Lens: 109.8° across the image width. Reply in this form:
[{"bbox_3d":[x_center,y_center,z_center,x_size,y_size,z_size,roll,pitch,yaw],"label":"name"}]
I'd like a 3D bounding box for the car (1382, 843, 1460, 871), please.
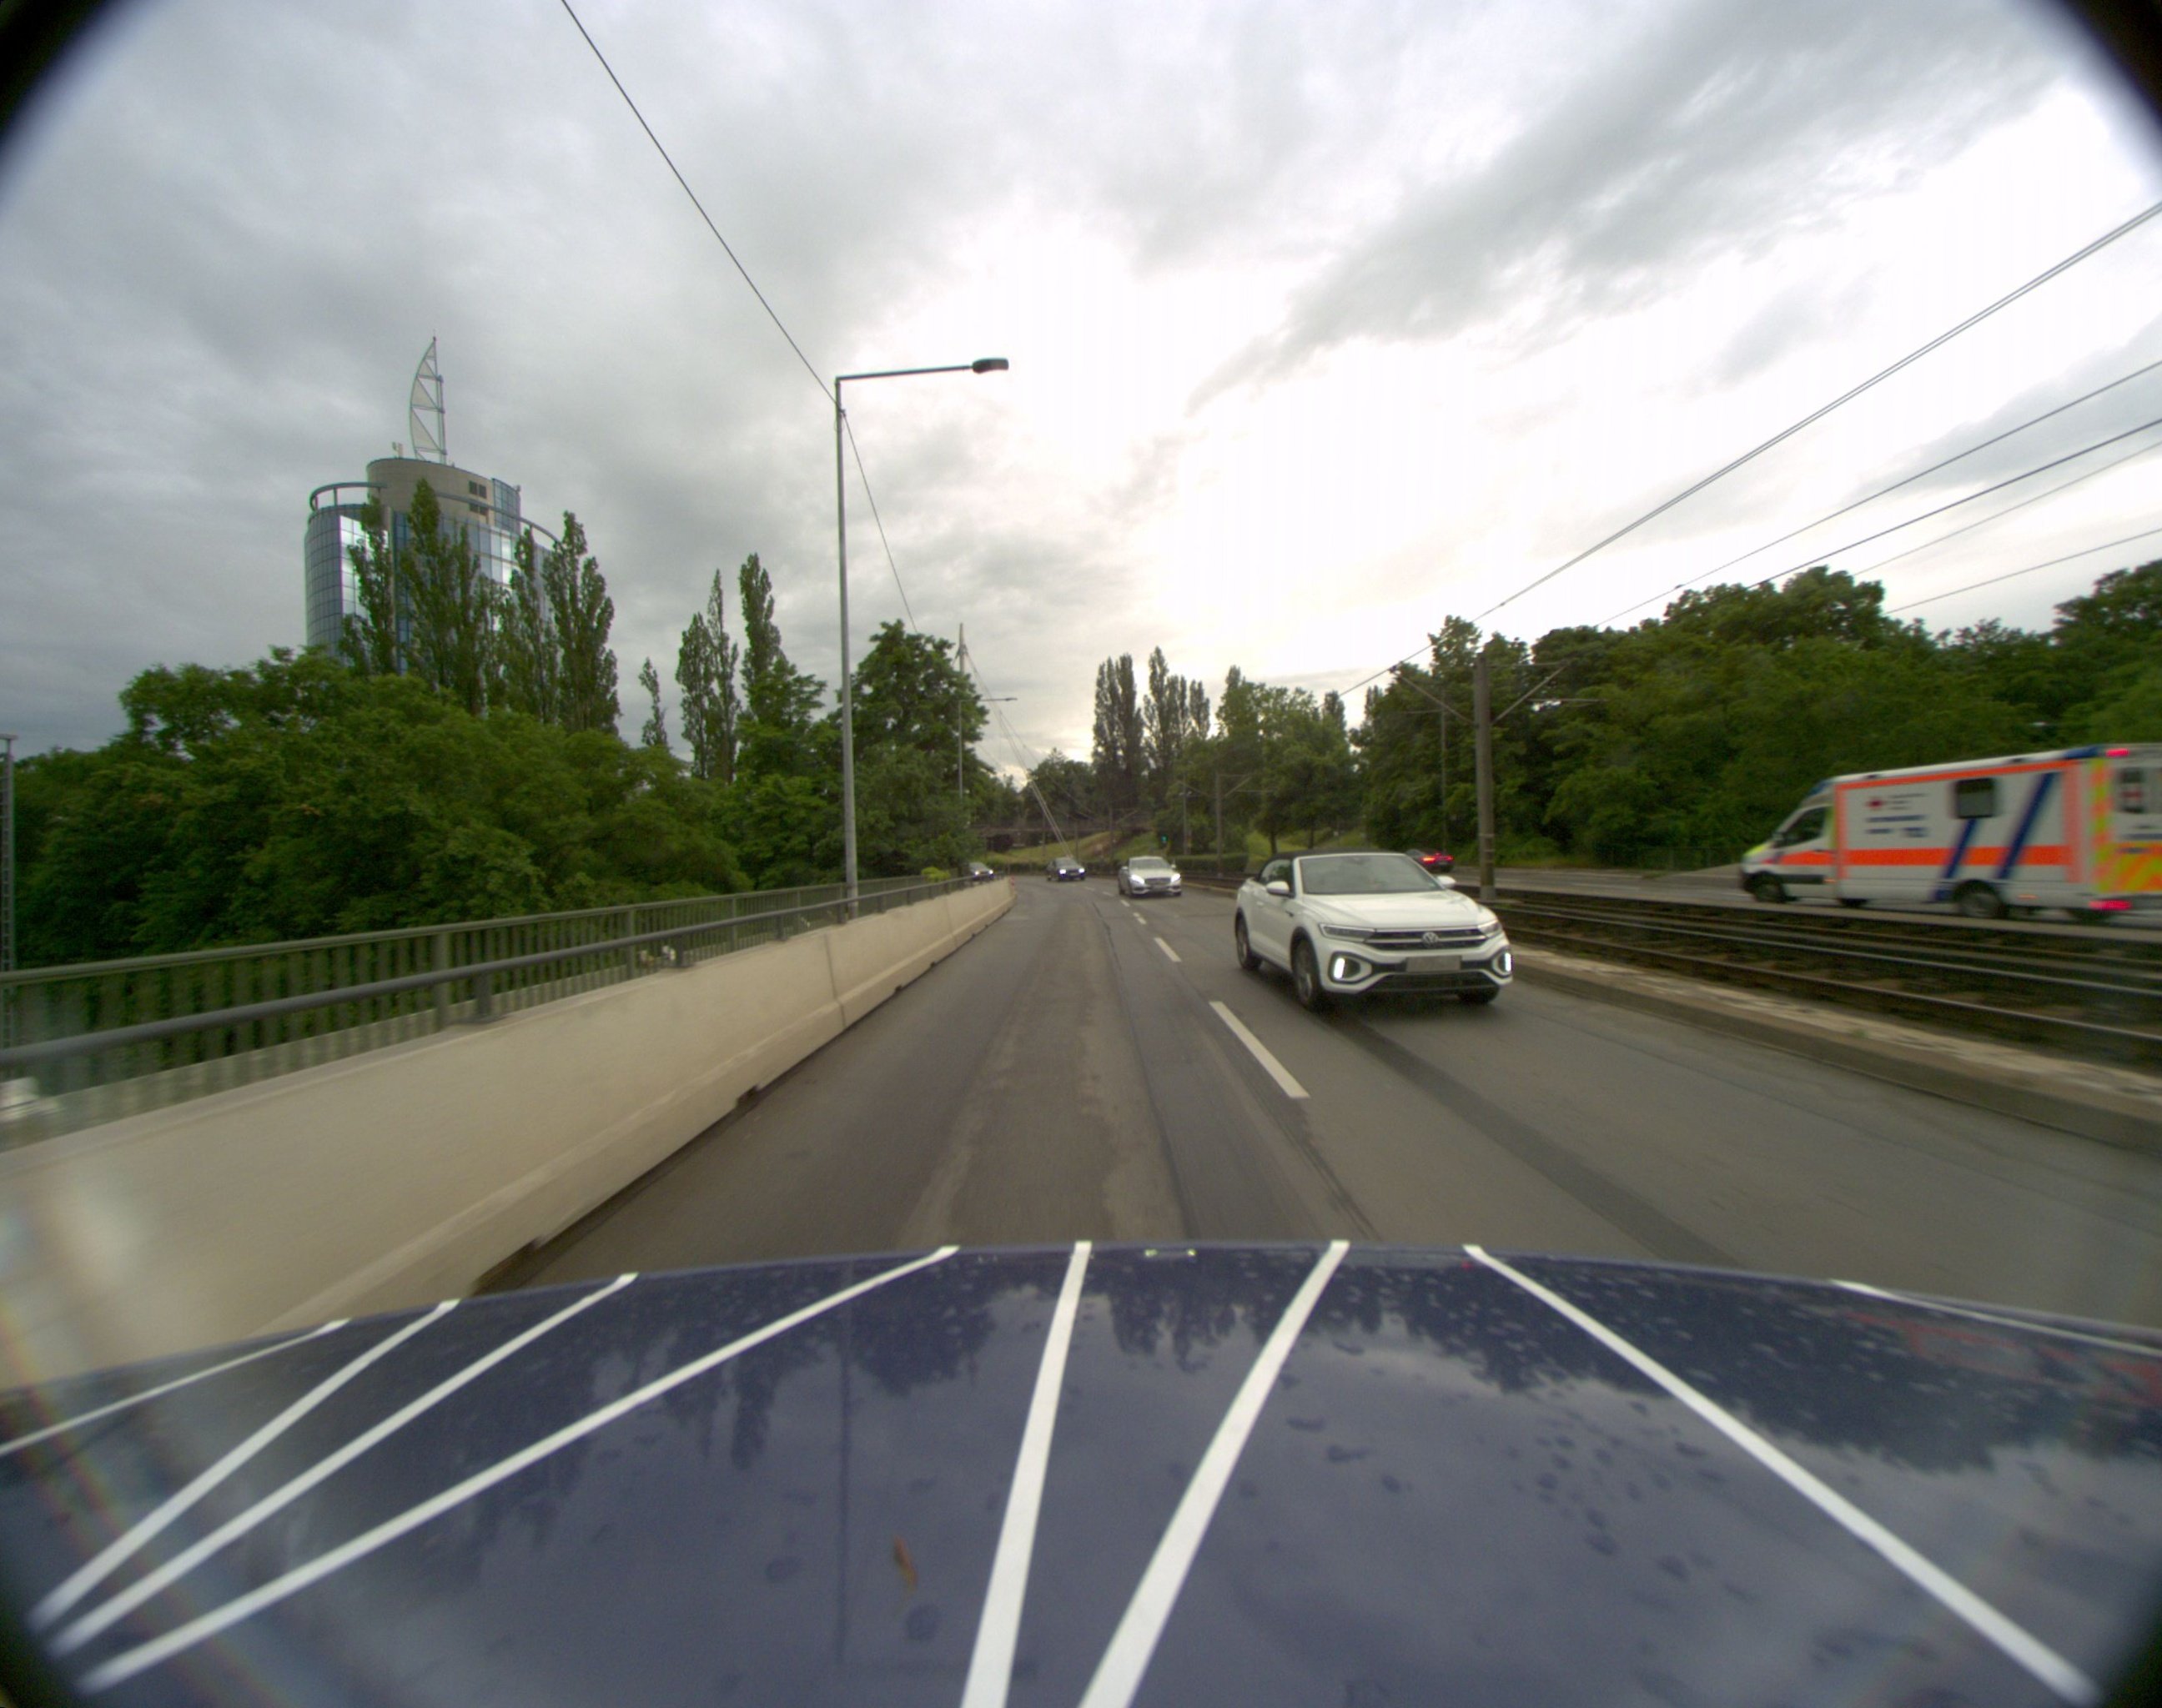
[{"bbox_3d":[18.249,0.178,41.016,1.842,1.306,4.617,-4,0,-3],"label":"car"}]

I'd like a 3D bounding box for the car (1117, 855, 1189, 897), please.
[{"bbox_3d":[2.546,0.749,27.799,1.872,1.348,4.058,-2,0,-6],"label":"car"}]

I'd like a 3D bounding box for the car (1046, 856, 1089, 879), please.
[{"bbox_3d":[-0.891,0.837,48.383,1.738,1.344,3.994,-2,1,-16],"label":"car"}]

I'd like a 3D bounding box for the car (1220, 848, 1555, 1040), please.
[{"bbox_3d":[2.949,0.725,8.534,1.876,1.515,4.539,-2,1,0],"label":"car"}]

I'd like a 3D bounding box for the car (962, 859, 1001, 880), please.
[{"bbox_3d":[-7.906,1.205,60.025,1.771,1.492,3.991,-2,1,-27],"label":"car"}]

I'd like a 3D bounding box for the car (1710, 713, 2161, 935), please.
[{"bbox_3d":[15.405,-0.486,13.948,2.395,3.098,6.356,-3,1,0],"label":"car"}]
